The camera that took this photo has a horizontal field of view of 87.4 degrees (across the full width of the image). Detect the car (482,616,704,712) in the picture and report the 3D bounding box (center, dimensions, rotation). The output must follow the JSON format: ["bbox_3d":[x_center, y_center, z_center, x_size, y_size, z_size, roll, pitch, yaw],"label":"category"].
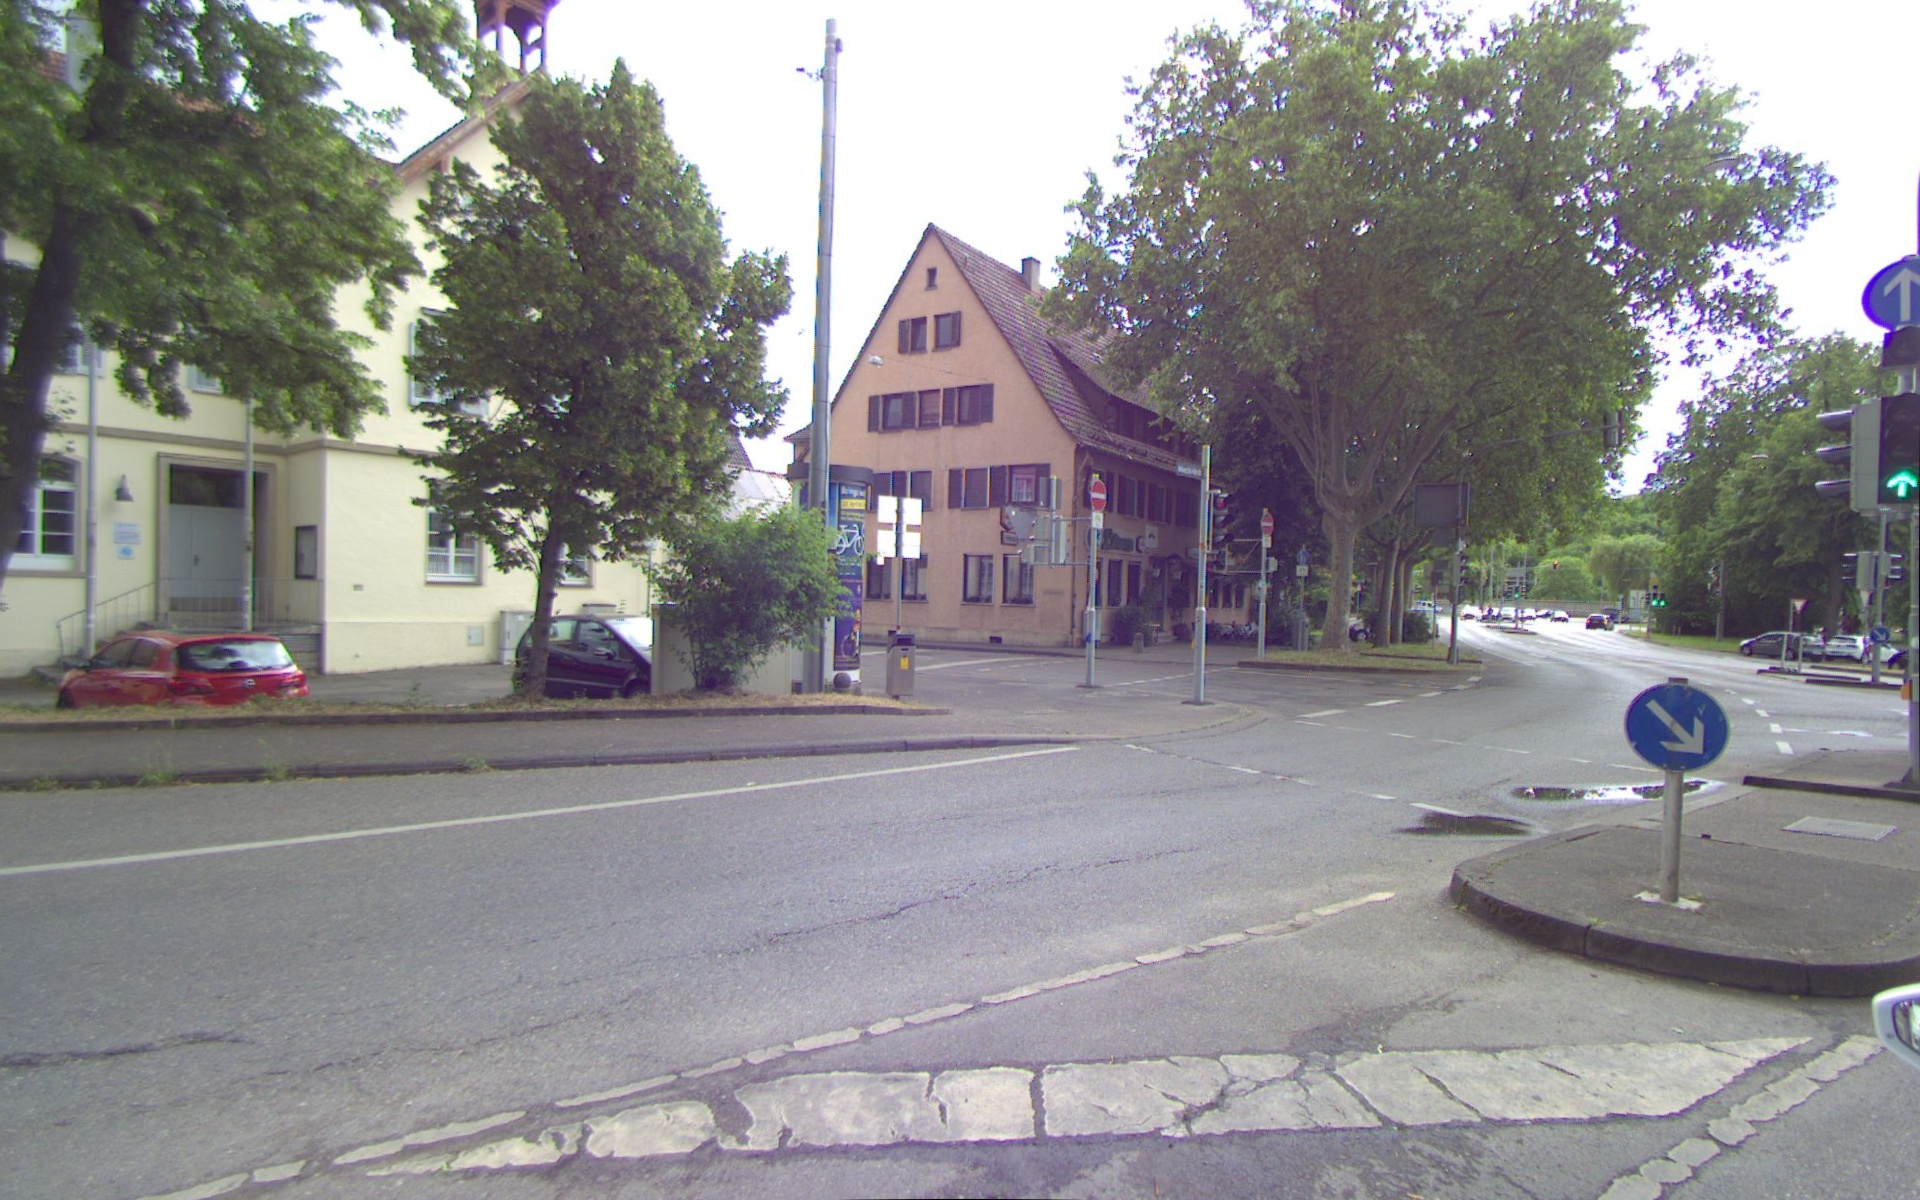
[{"bbox_3d":[-6.015,0.977,16.451,3.335,1.327,1.482,2,0,25],"label":"car"}]

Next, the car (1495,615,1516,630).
[{"bbox_3d":[69.912,2.842,128.743,1.885,1.787,4.737,2,1,34],"label":"car"}]

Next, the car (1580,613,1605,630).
[{"bbox_3d":[61.297,2.059,97.428,1.795,1.529,4.566,2,0,30],"label":"car"}]

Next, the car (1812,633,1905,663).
[{"bbox_3d":[47.667,2.544,53.319,4.194,1.399,1.758,2,1,-18],"label":"car"}]

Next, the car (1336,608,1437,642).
[{"bbox_3d":[24.818,1.439,58.637,5.137,1.957,2.085,0,0,11],"label":"car"}]

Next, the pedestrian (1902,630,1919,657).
[{"bbox_3d":[55.931,2.553,58.986,0.673,1.572,0.741,2,1,29],"label":"pedestrian"}]

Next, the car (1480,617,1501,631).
[{"bbox_3d":[63.514,2.847,120.208,1.772,1.608,4.402,0,0,34],"label":"car"}]

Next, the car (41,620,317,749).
[{"bbox_3d":[-10.331,1.022,13.252,3.564,1.371,1.597,2,0,29],"label":"car"}]

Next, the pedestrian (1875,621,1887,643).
[{"bbox_3d":[66.105,2.313,72.123,0.504,1.552,0.775,3,1,38],"label":"pedestrian"}]

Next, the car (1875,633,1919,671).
[{"bbox_3d":[39.585,2.165,40.801,1.542,1.423,3.494,2,1,-1],"label":"car"}]

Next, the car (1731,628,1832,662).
[{"bbox_3d":[44.164,2.404,54.091,1.701,1.448,4.107,2,2,-7],"label":"car"}]

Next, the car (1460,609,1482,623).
[{"bbox_3d":[54.135,1.694,106.318,1.737,1.486,4.013,1,-1,31],"label":"car"}]
